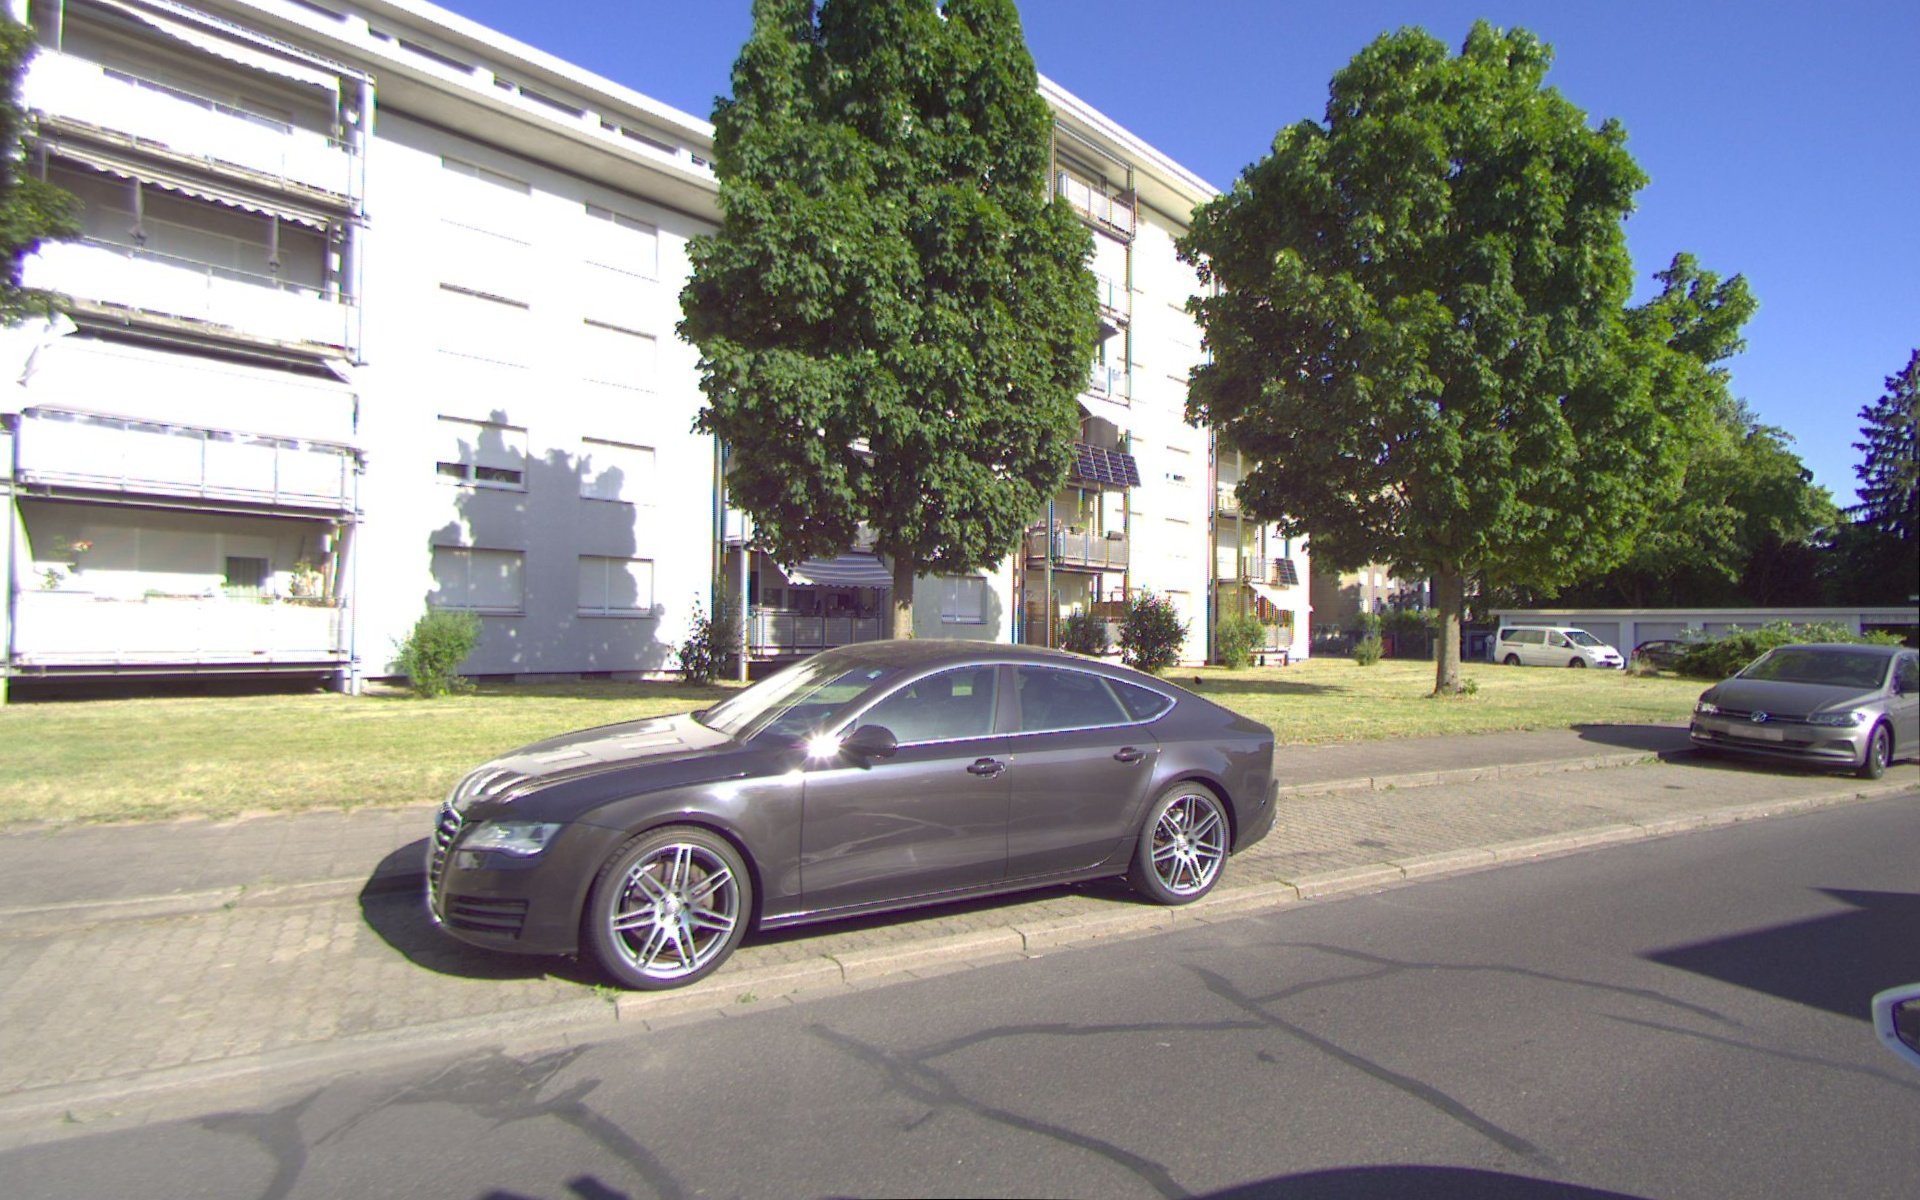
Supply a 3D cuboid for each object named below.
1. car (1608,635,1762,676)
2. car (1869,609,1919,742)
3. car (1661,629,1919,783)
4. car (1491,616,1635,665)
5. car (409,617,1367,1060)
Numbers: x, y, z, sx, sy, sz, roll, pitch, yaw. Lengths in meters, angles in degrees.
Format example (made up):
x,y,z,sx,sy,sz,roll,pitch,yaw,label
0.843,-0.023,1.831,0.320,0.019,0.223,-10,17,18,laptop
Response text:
x,y,z,sx,sy,sz,roll,pitch,yaw,label
27.894,2.100,38.808,2.013,1.480,4.434,1,-2,-22,car
16.299,1.156,15.343,5.127,1.911,2.006,2,0,-29,car
10.677,1.180,12.248,4.170,1.538,1.825,2,0,-29,car
26.032,1.749,43.620,2.204,1.976,5.098,1,-2,-21,car
-0.227,0.900,5.818,5.193,1.513,2.025,0,1,-30,car
